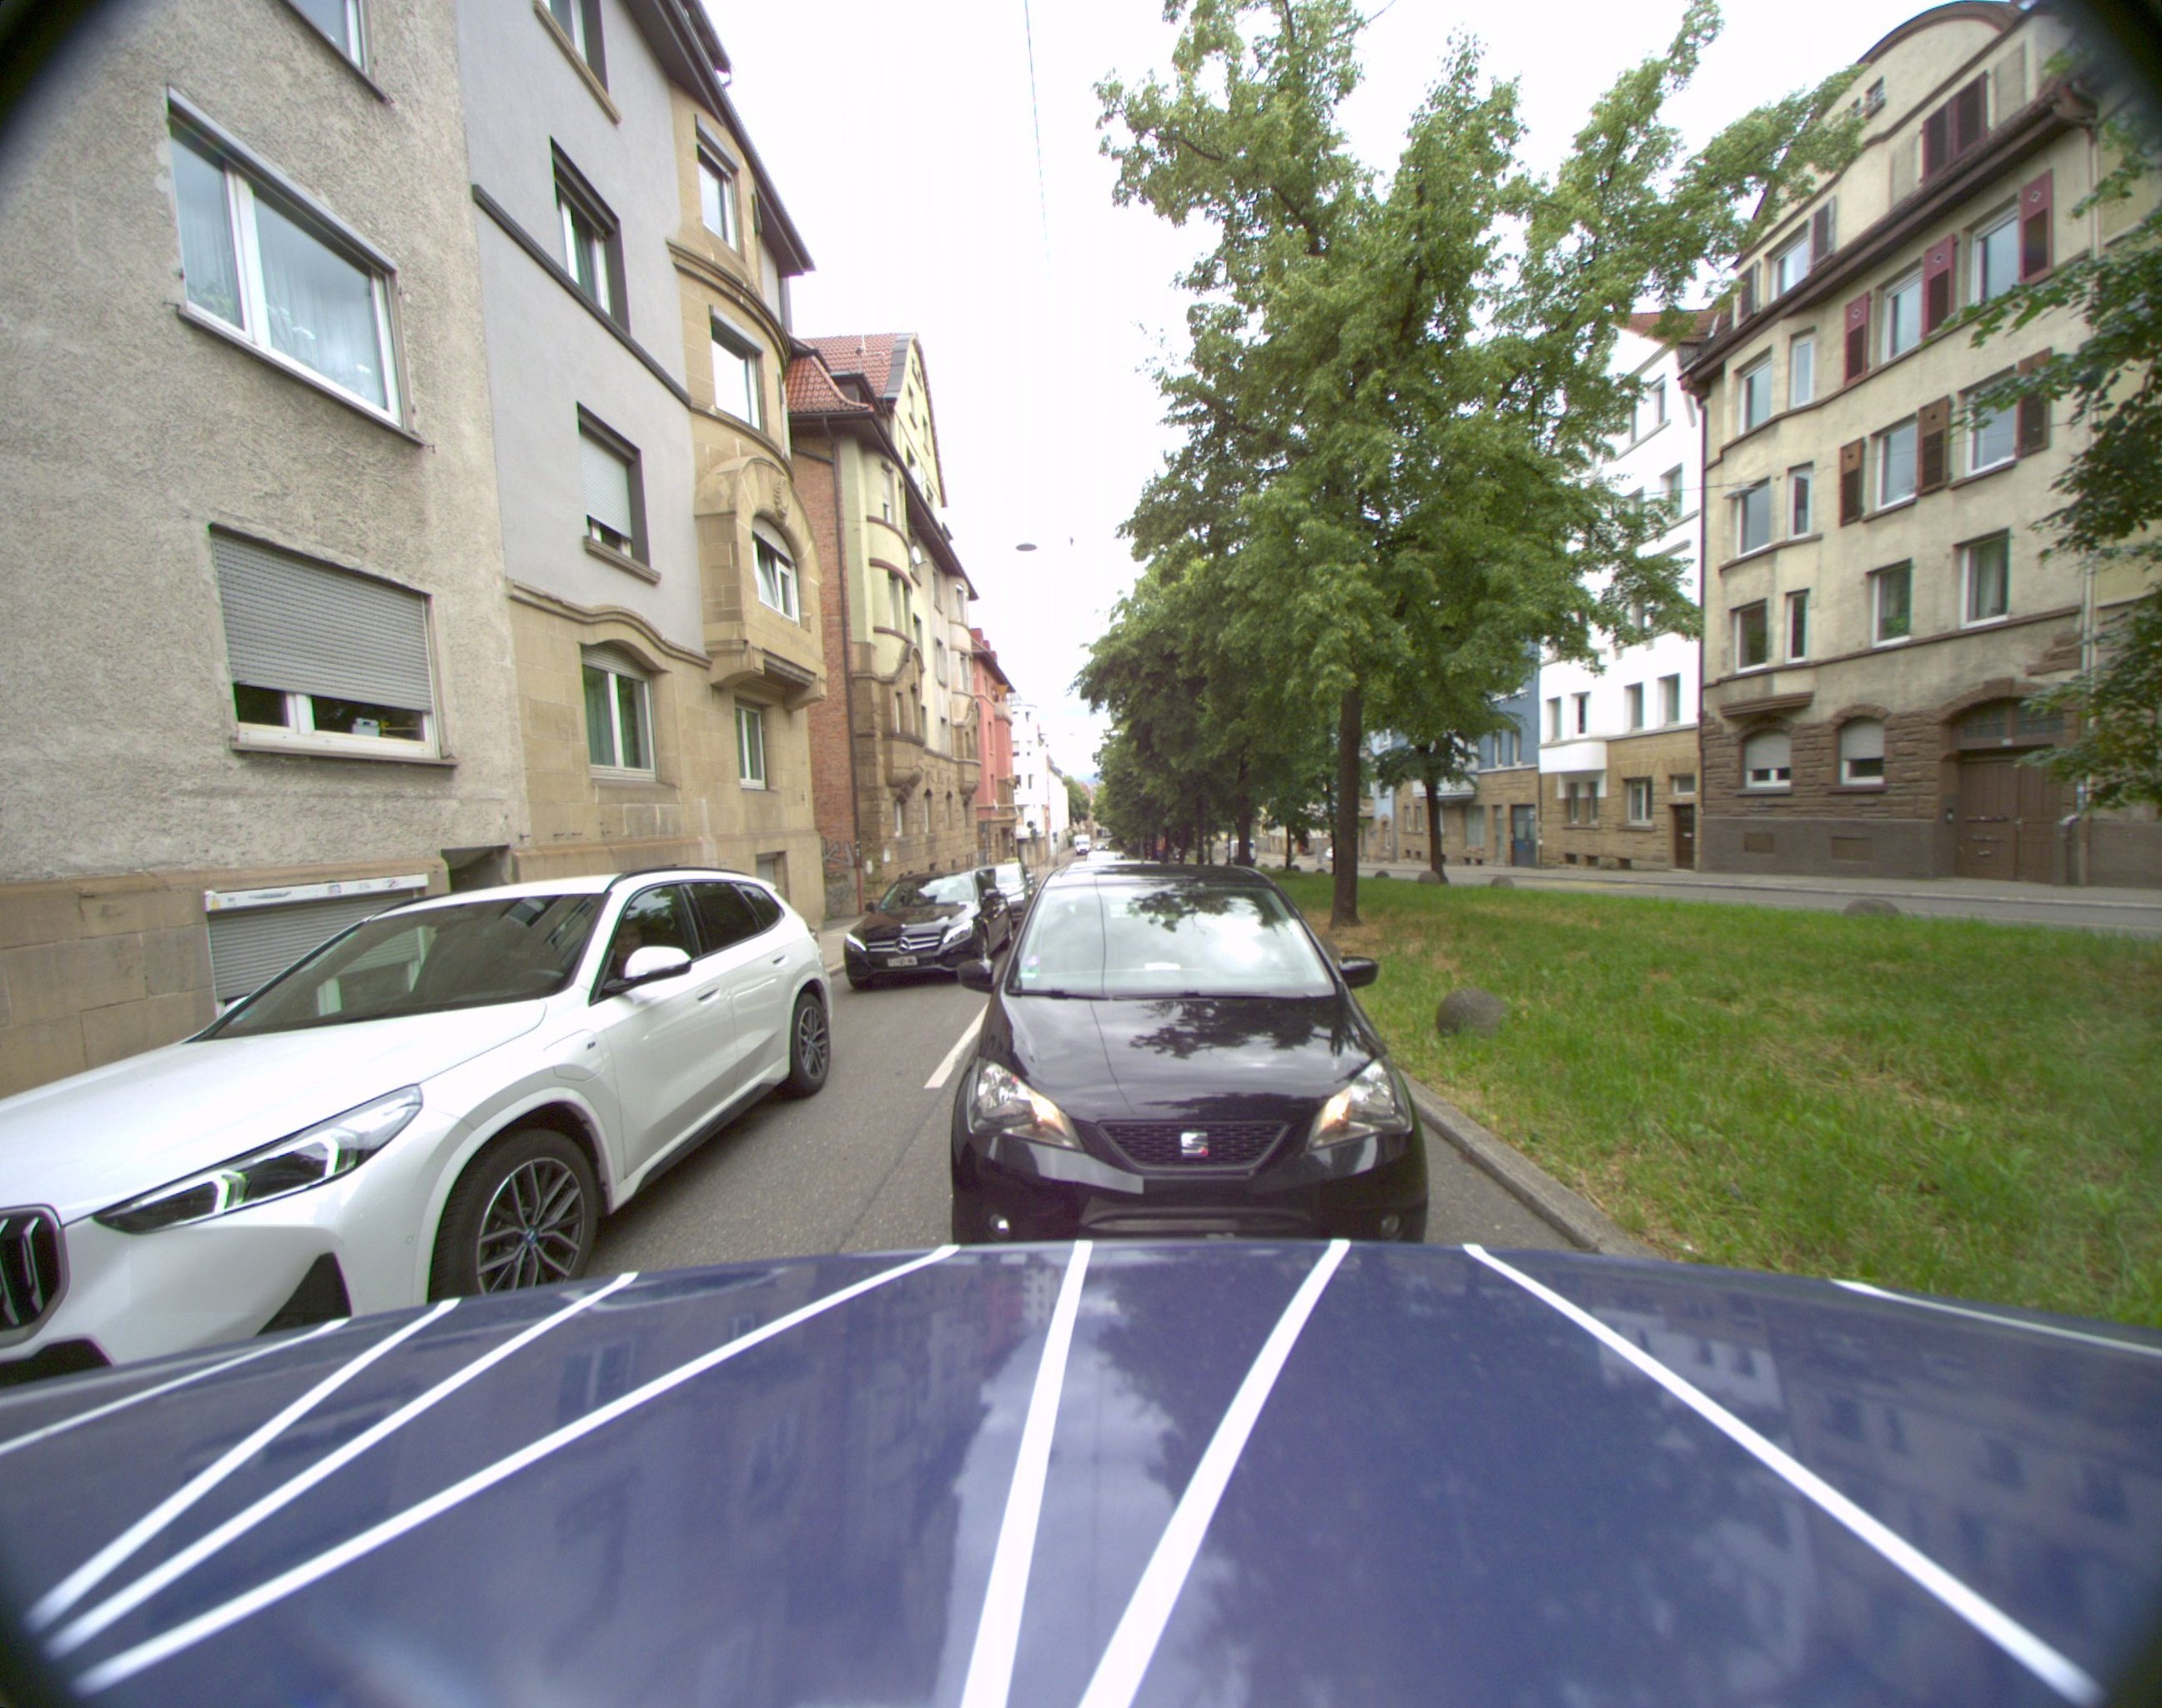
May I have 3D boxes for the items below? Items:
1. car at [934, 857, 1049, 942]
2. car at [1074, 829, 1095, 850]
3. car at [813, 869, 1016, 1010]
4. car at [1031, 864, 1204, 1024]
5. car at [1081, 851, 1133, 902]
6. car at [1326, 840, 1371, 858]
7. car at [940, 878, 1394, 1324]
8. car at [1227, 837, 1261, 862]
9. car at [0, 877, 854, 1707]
[{"bbox_3d":[-1.964,0.963,18.048,1.936,1.506,4.303,-6,1,2],"label":"car"},{"bbox_3d":[0.582,-2.062,109.017,2.716,2.879,6.453,-2,1,2],"label":"car"},{"bbox_3d":[-2.170,1.068,11.189,1.884,1.369,4.205,-6,1,1],"label":"car"},{"bbox_3d":[0.386,0.923,9.356,1.664,1.456,3.580,-2,1,1],"label":"car"},{"bbox_3d":[0.840,0.700,25.704,1.607,1.492,3.737,-2,1,1],"label":"car"},{"bbox_3d":[22.178,-0.429,63.105,3.291,1.323,1.672,-2,1,10],"label":"car"},{"bbox_3d":[0.328,0.941,4.361,1.611,1.457,3.296,0,1,1],"label":"car"},{"bbox_3d":[14.061,-0.368,65.799,1.998,1.933,5.308,-3,0,4],"label":"car"},{"bbox_3d":[-2.786,1.073,3.725,1.859,1.547,4.350,-6,1,0],"label":"car"}]
